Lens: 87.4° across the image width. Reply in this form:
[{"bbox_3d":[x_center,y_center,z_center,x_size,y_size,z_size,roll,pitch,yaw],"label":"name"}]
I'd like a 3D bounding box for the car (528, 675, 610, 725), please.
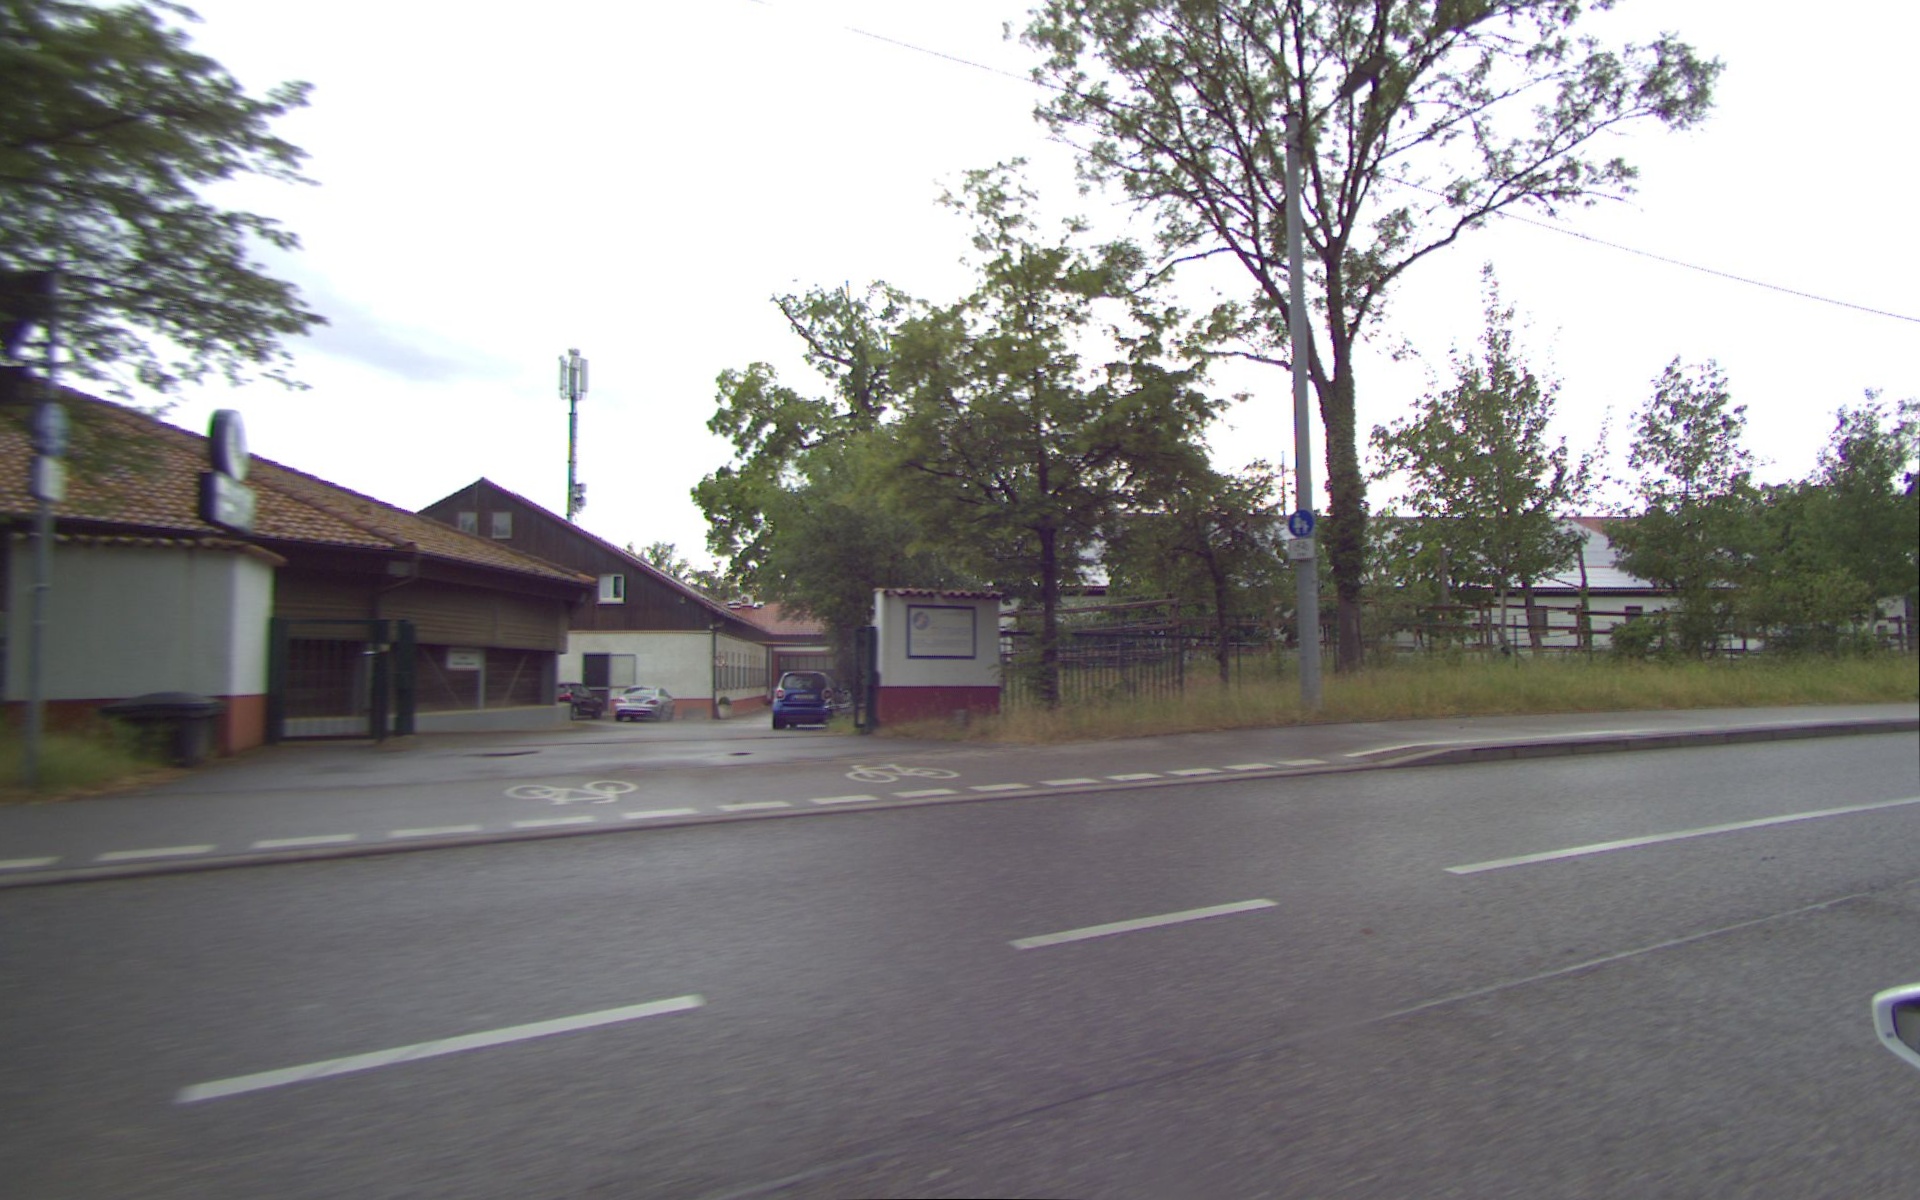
[{"bbox_3d":[-15.539,3.947,40.129,1.719,1.639,3.867,1,0,1],"label":"car"}]

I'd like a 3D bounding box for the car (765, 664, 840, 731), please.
[{"bbox_3d":[-4.364,2.685,28.285,1.896,1.733,3.998,1,-4,-7],"label":"car"}]
